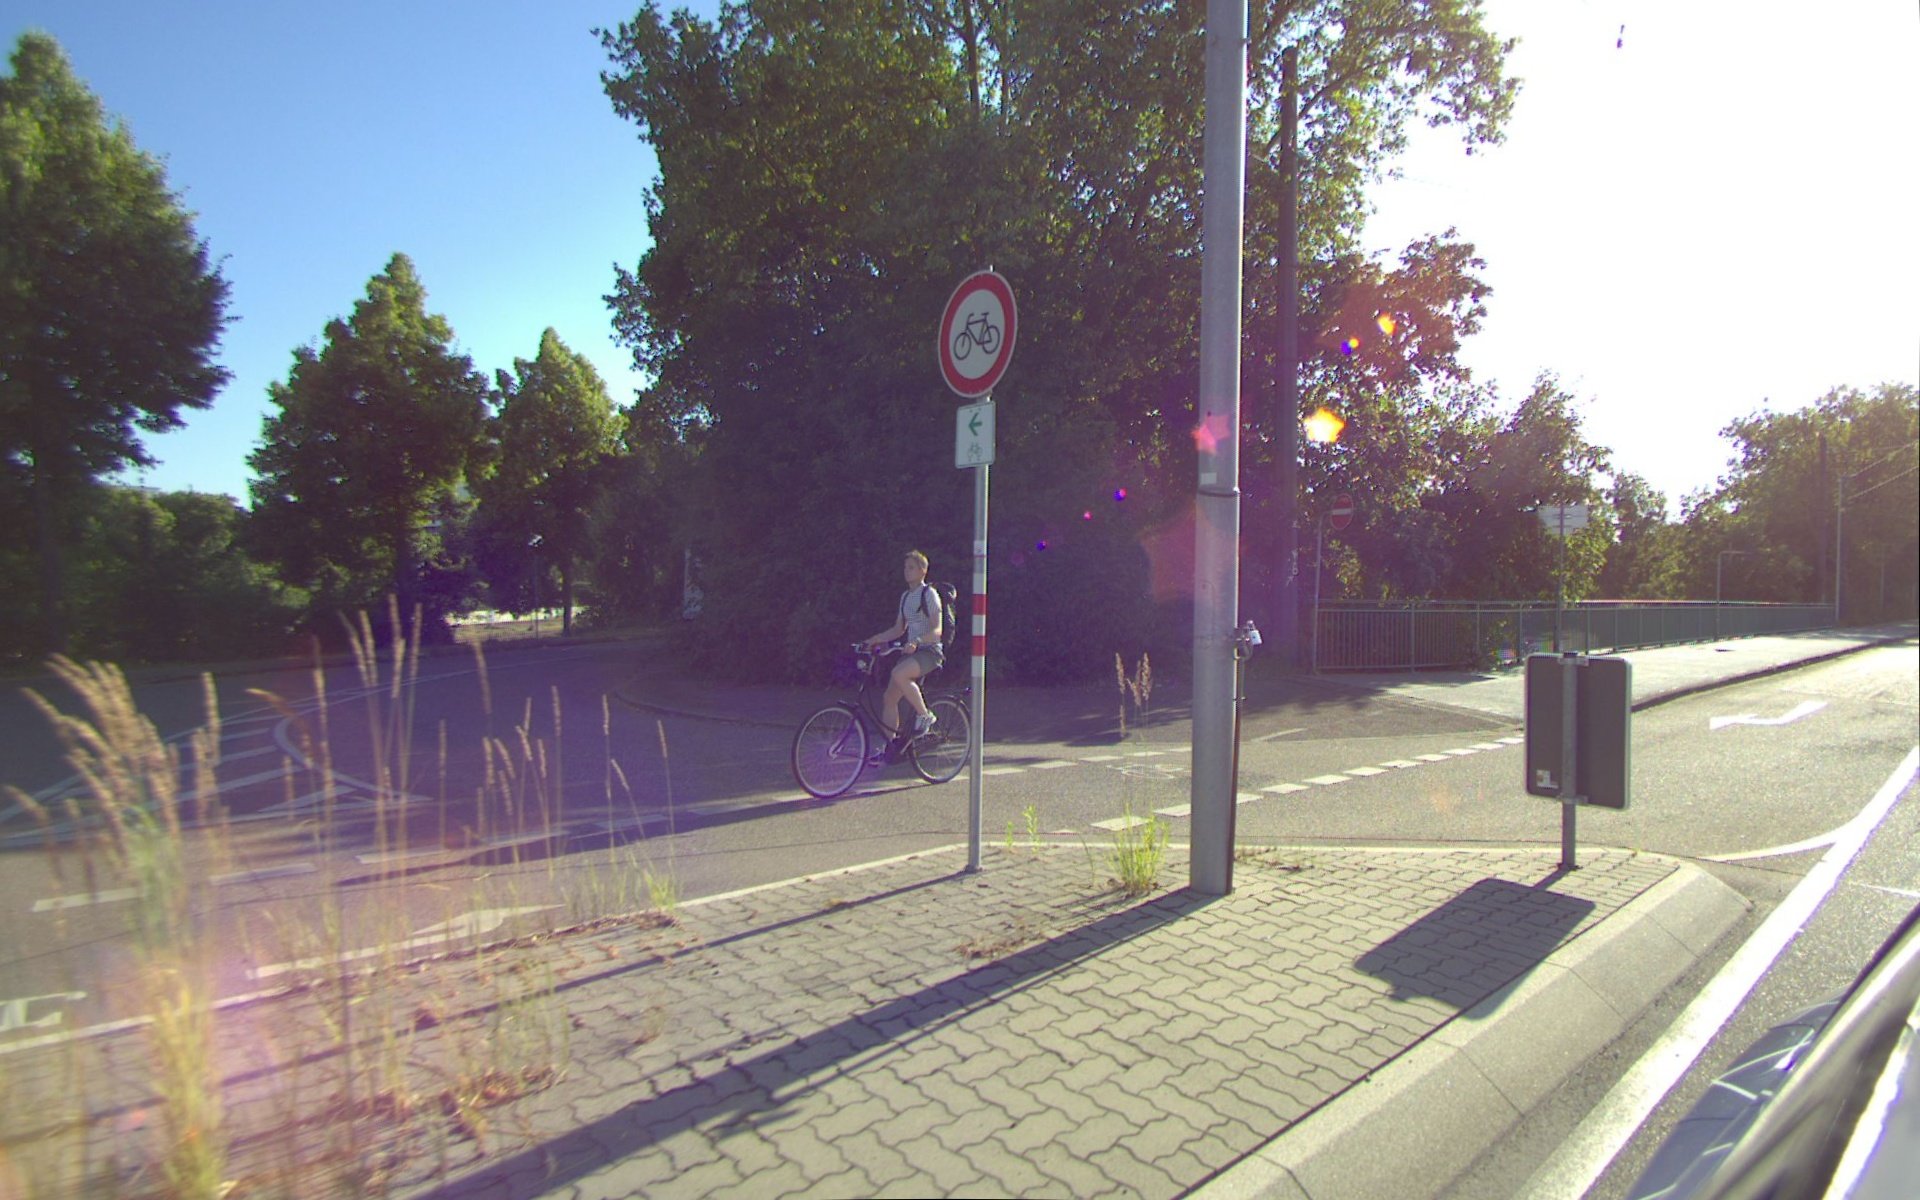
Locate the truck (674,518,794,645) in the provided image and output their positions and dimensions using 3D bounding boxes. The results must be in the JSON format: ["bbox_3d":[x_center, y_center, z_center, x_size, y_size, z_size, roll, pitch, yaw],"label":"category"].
[{"bbox_3d":[-8.056,-0.641,37.390,2.511,4.047,9.890,0,1,-2],"label":"truck"}]

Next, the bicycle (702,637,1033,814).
[{"bbox_3d":[-0.631,0.891,7.996,2.695,1.137,0.732,1,-2,-42],"label":"bicycle"}]

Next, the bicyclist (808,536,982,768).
[{"bbox_3d":[-0.517,0.395,8.149,1.181,1.711,0.732,1,-3,-42],"label":"bicyclist"}]
